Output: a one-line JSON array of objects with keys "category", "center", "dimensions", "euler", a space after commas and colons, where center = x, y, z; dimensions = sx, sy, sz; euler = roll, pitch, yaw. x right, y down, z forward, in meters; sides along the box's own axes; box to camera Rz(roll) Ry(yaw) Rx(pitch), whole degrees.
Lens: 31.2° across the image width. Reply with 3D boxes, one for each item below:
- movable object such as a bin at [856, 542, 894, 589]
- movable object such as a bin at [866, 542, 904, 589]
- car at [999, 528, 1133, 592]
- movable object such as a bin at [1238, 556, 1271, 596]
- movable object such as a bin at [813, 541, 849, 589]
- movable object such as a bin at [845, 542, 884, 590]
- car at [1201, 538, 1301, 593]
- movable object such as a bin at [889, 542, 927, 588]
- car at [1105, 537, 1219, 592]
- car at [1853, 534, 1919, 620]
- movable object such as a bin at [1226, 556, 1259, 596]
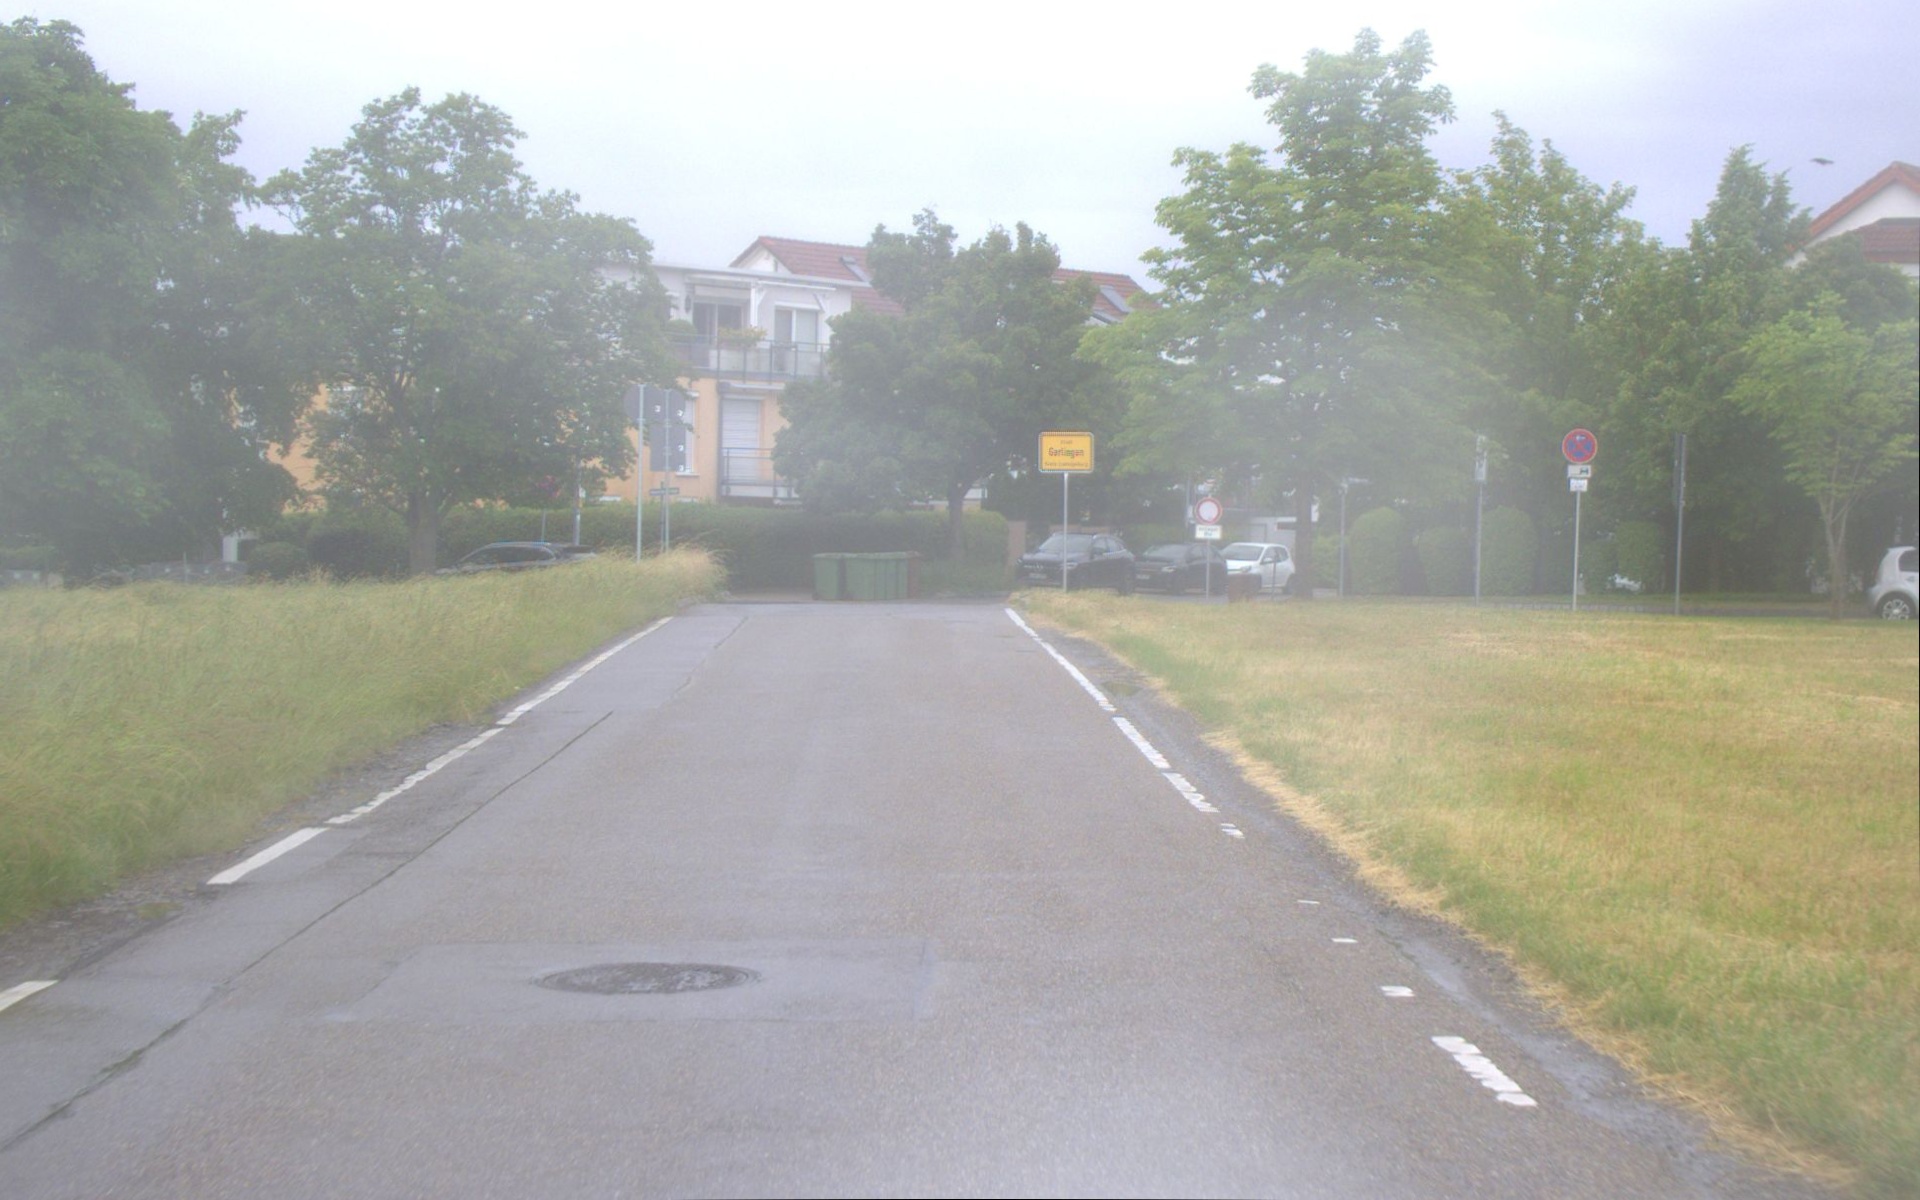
[{"category": "movable object such as a bin", "center": [-1.942, -0.792, 78.482], "dimensions": [0.695, 1.071, 0.543], "euler": [1, 1, 20]}, {"category": "movable object such as a bin", "center": [-1.728, -0.801, 79.055], "dimensions": [0.695, 1.063, 0.578], "euler": [1, 1, 20]}, {"category": "car", "center": [2.767, -1.022, 89.122], "dimensions": [1.778, 1.513, 4.131], "euler": [4, 2, 27]}, {"category": "movable object such as a bin", "center": [7.026, -0.569, 82.026], "dimensions": [0.571, 0.928, 0.529], "euler": [2, 1, 33]}, {"category": "movable object such as a bin", "center": [-2.925, -0.794, 78.077], "dimensions": [0.666, 1.070, 0.543], "euler": [1, 1, 20]}, {"category": "movable object such as a bin", "center": [-2.165, -0.780, 77.881], "dimensions": [0.695, 1.071, 0.601], "euler": [1, 1, 20]}, {"category": "car", "center": [8.370, -0.983, 98.709], "dimensions": [1.513, 1.471, 3.268], "euler": [4, 2, 30]}, {"category": "movable object such as a bin", "center": [-1.216, -0.823, 80.261], "dimensions": [0.695, 1.051, 0.605], "euler": [1, 1, 20]}, {"category": "car", "center": [5.567, -0.967, 94.286], "dimensions": [1.638, 1.404, 3.599], "euler": [4, 2, 29]}, {"category": "car", "center": [17.529, -0.383, 60.265], "dimensions": [3.546, 1.474, 1.678], "euler": [1, 0, 17]}, {"category": "movable object such as a bin", "center": [6.703, -0.572, 81.545], "dimensions": [0.571, 0.928, 0.529], "euler": [2, 1, 33]}]
